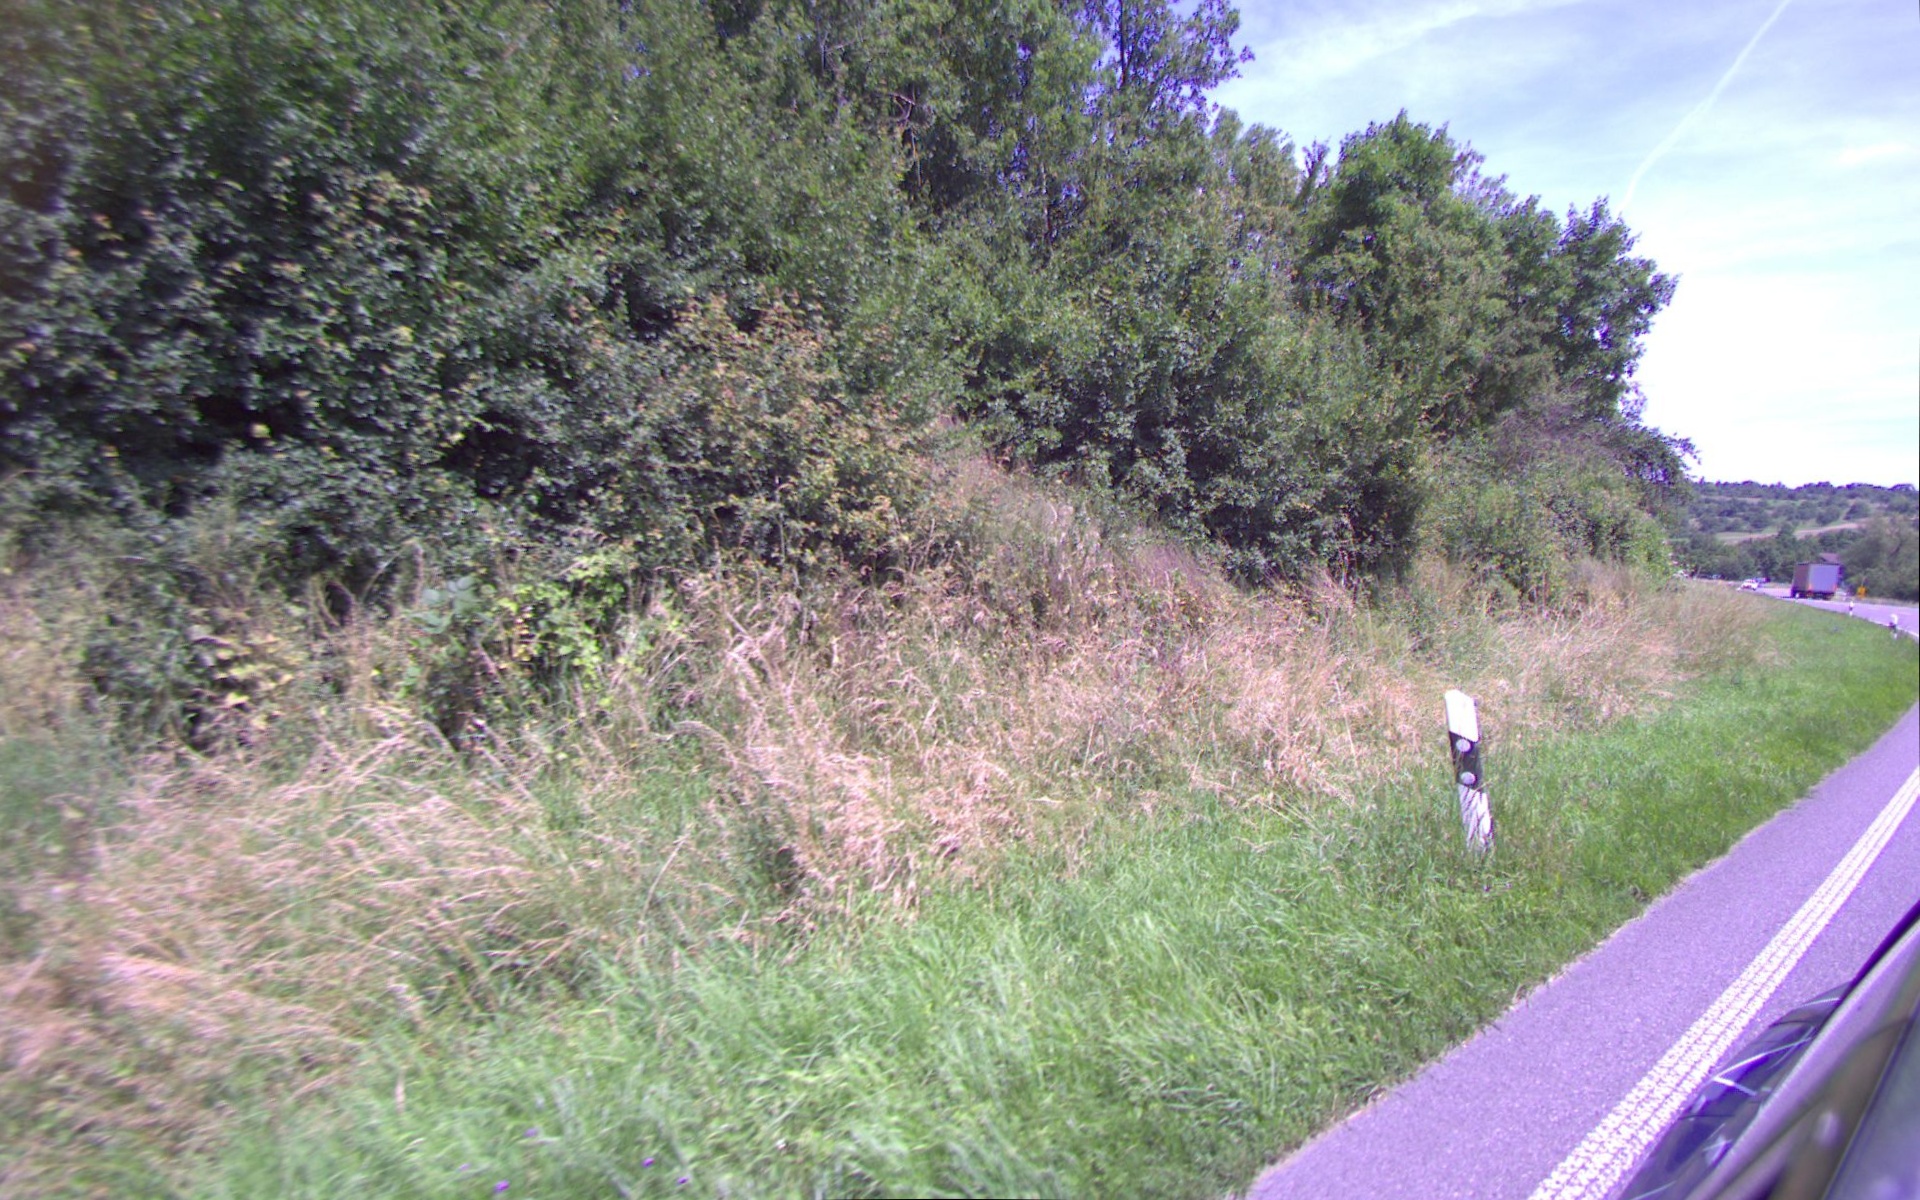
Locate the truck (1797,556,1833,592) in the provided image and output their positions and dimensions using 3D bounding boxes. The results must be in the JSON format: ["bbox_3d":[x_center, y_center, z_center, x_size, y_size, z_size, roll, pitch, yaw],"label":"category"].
[{"bbox_3d":[101.343,-3.038,120.073,2.550,4.166,5.728,2,2,34],"label":"truck"}]

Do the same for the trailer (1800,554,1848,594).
[{"bbox_3d":[97.417,-2.921,114.280,2.560,4.159,13.495,2,2,34],"label":"trailer"}]
